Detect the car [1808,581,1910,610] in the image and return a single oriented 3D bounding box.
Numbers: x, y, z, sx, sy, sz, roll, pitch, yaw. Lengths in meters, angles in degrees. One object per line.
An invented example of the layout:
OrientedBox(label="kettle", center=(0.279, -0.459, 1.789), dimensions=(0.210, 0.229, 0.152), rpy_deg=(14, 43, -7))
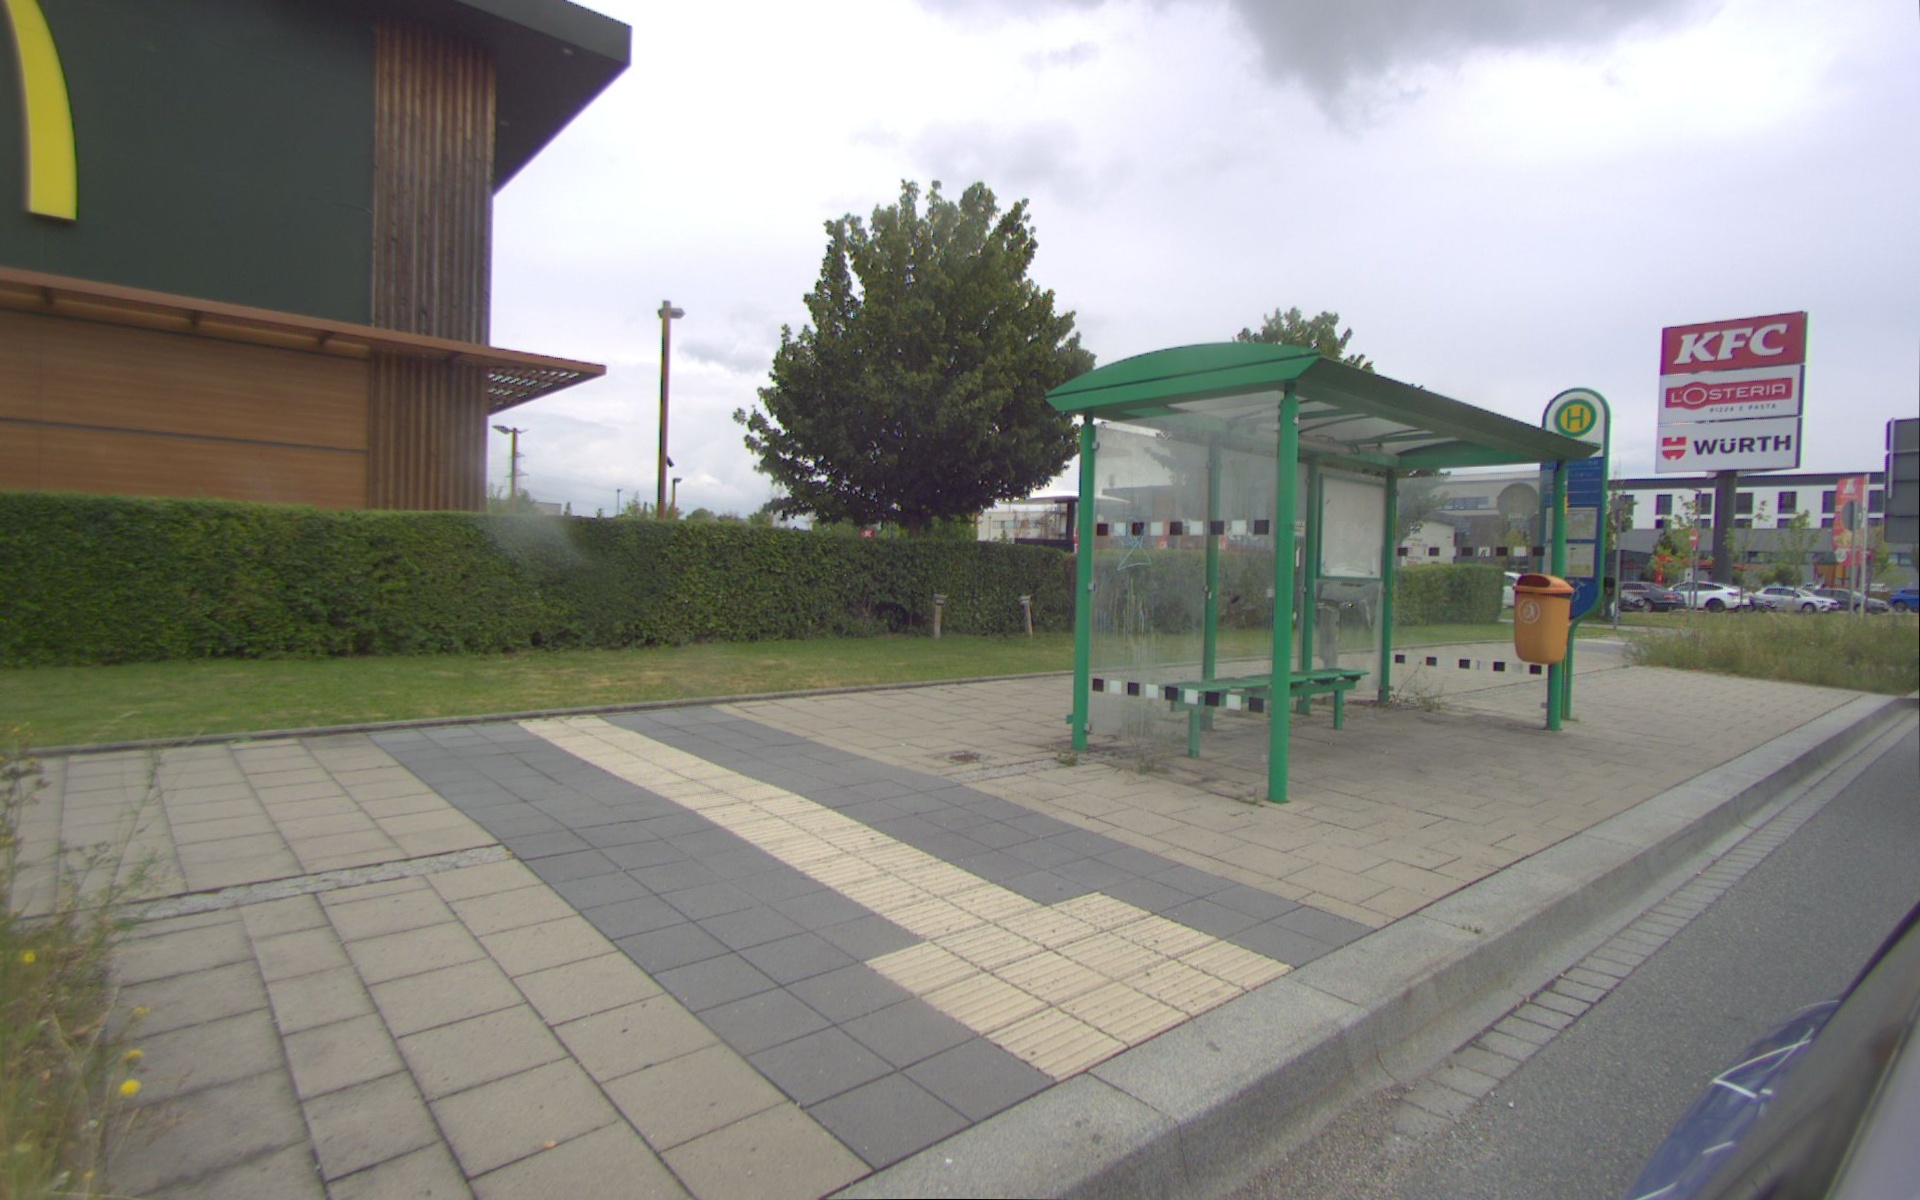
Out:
OrientedBox(label="car", center=(51.644, -0.287, 58.226), dimensions=(1.810, 1.504, 4.007), rpy_deg=(0, 2, -28))

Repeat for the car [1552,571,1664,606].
OrientedBox(label="car", center=(30.239, -0.558, 47.351), dimensions=(1.811, 1.504, 4.004), rpy_deg=(0, 2, -32))

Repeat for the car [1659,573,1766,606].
OrientedBox(label="car", center=(38.573, -0.548, 51.973), dimensions=(1.811, 1.541, 4.004), rpy_deg=(0, 2, -32))

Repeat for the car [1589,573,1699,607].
OrientedBox(label="car", center=(32.818, -0.483, 48.652), dimensions=(1.811, 1.504, 4.004), rpy_deg=(0, 2, -32))

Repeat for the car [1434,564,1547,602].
OrientedBox(label="car", center=(23.203, -0.782, 44.357), dimensions=(1.814, 1.546, 3.996), rpy_deg=(0, 2, -40))

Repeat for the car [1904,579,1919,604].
OrientedBox(label="car", center=(60.598, -0.518, 61.735), dimensions=(1.809, 1.504, 4.008), rpy_deg=(-1, 1, -24))

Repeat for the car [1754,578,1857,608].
OrientedBox(label="car", center=(47.244, -0.402, 56.625), dimensions=(1.810, 1.504, 4.007), rpy_deg=(0, 2, -28))

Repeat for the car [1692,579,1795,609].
OrientedBox(label="car", center=(42.567, -0.363, 55.066), dimensions=(1.811, 1.504, 4.003), rpy_deg=(0, 2, -33))
